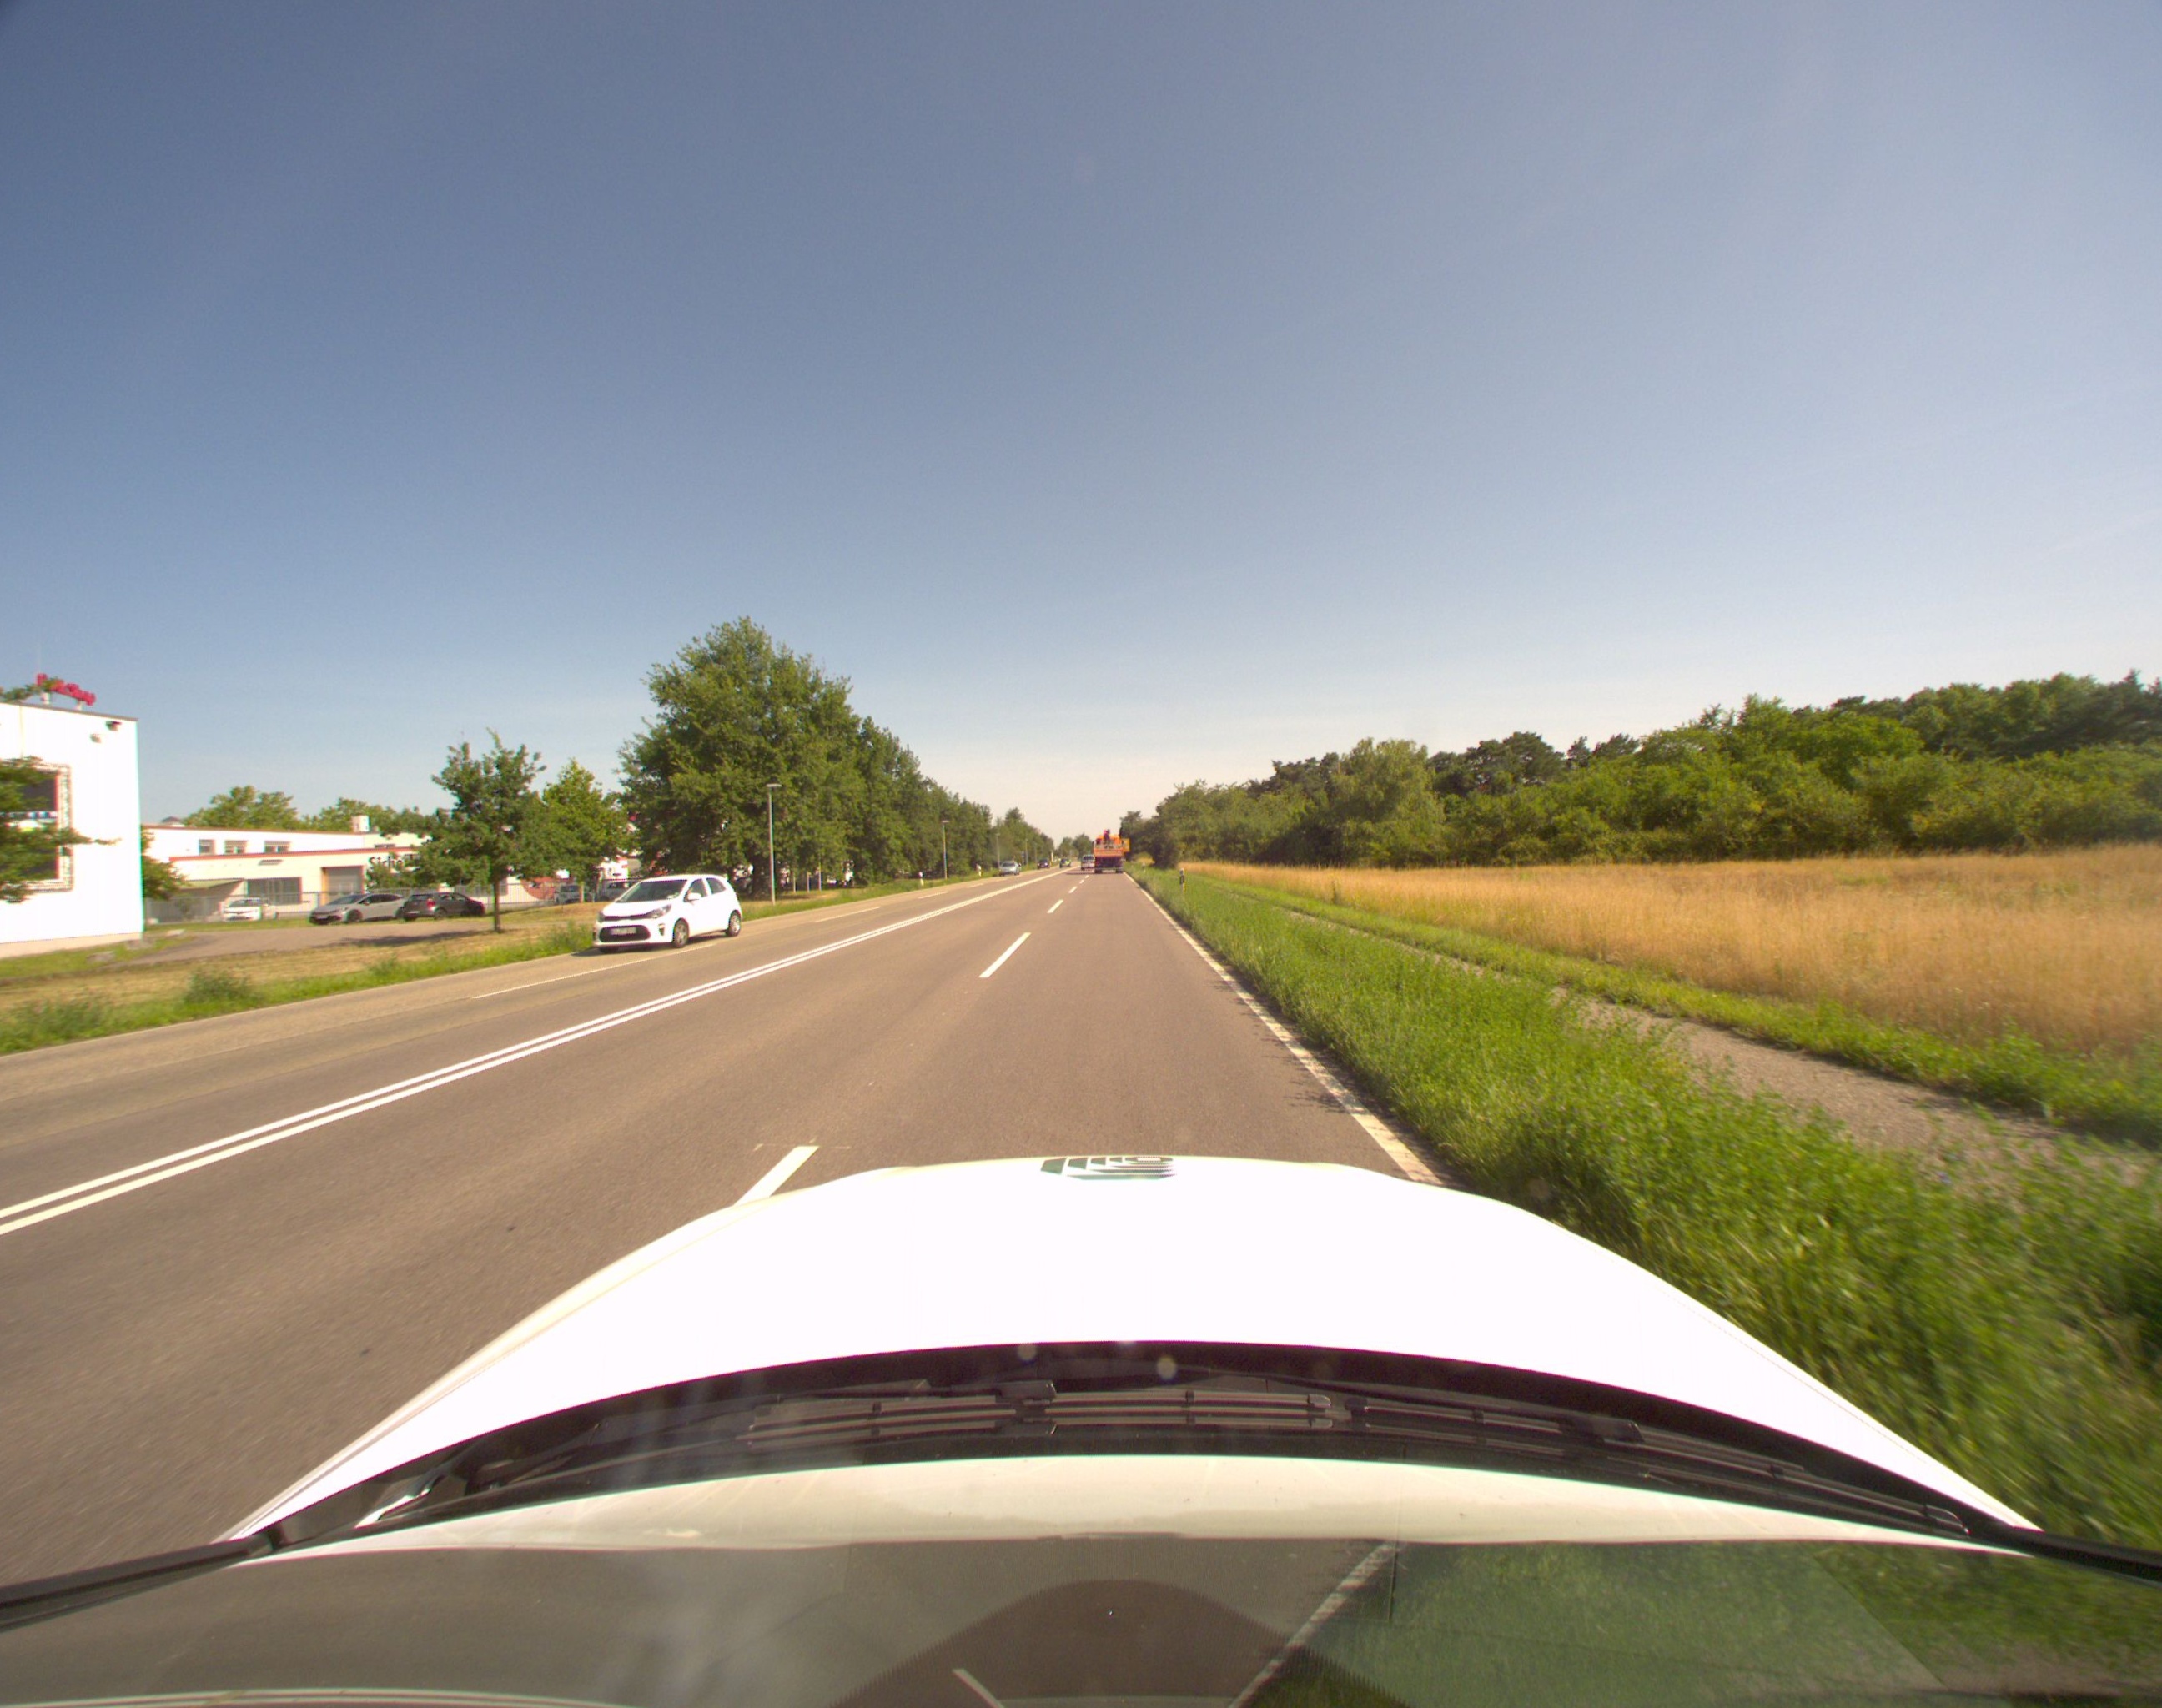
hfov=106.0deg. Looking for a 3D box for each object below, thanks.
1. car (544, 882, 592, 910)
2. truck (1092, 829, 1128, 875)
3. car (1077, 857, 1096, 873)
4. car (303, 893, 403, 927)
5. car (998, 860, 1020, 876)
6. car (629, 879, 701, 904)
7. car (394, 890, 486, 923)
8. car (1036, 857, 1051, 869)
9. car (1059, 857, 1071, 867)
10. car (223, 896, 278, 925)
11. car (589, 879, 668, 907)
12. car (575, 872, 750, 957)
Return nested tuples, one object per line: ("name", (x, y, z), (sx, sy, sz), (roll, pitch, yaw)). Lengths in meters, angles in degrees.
("car", (-30.651, 2.502, 48.615), (1.750, 1.500, 3.952), (-2, 0, -42))
("truck", (2.443, -0.139, 71.671), (2.863, 3.880, 7.397), (0, 0, 0))
("car", (0.595, 1.222, 91.053), (1.987, 1.583, 3.999), (-2, 0, 0))
("car", (-36.867, 2.828, 41.368), (1.630, 1.410, 3.724), (-3, 0, 1))
("car", (-7.047, 1.354, 80.302), (1.592, 1.442, 4.001), (-4, 0, 1))
("car", (-28.491, 2.554, 55.855), (3.973, 1.500, 1.758), (-3, 0, 1))
("car", (-32.364, 2.618, 41.261), (1.630, 1.390, 3.724), (-3, 0, 1))
("car", (-5.735, 1.339, 124.261), (1.819, 1.671, 4.390), (-4, 0, 1))
("car", (-2.493, 1.231, 125.877), (1.511, 1.450, 3.776), (-4, 0, 2))
("car", (-49.903, 3.361, 49.007), (1.472, 1.559, 3.351), (-3, 0, -31))
("car", (-28.714, 2.444, 51.765), (3.973, 1.500, 1.758), (-3, 0, 1))
("car", (-8.770, 1.198, 17.455), (1.653, 1.437, 3.737), (-4, 0, 1))
